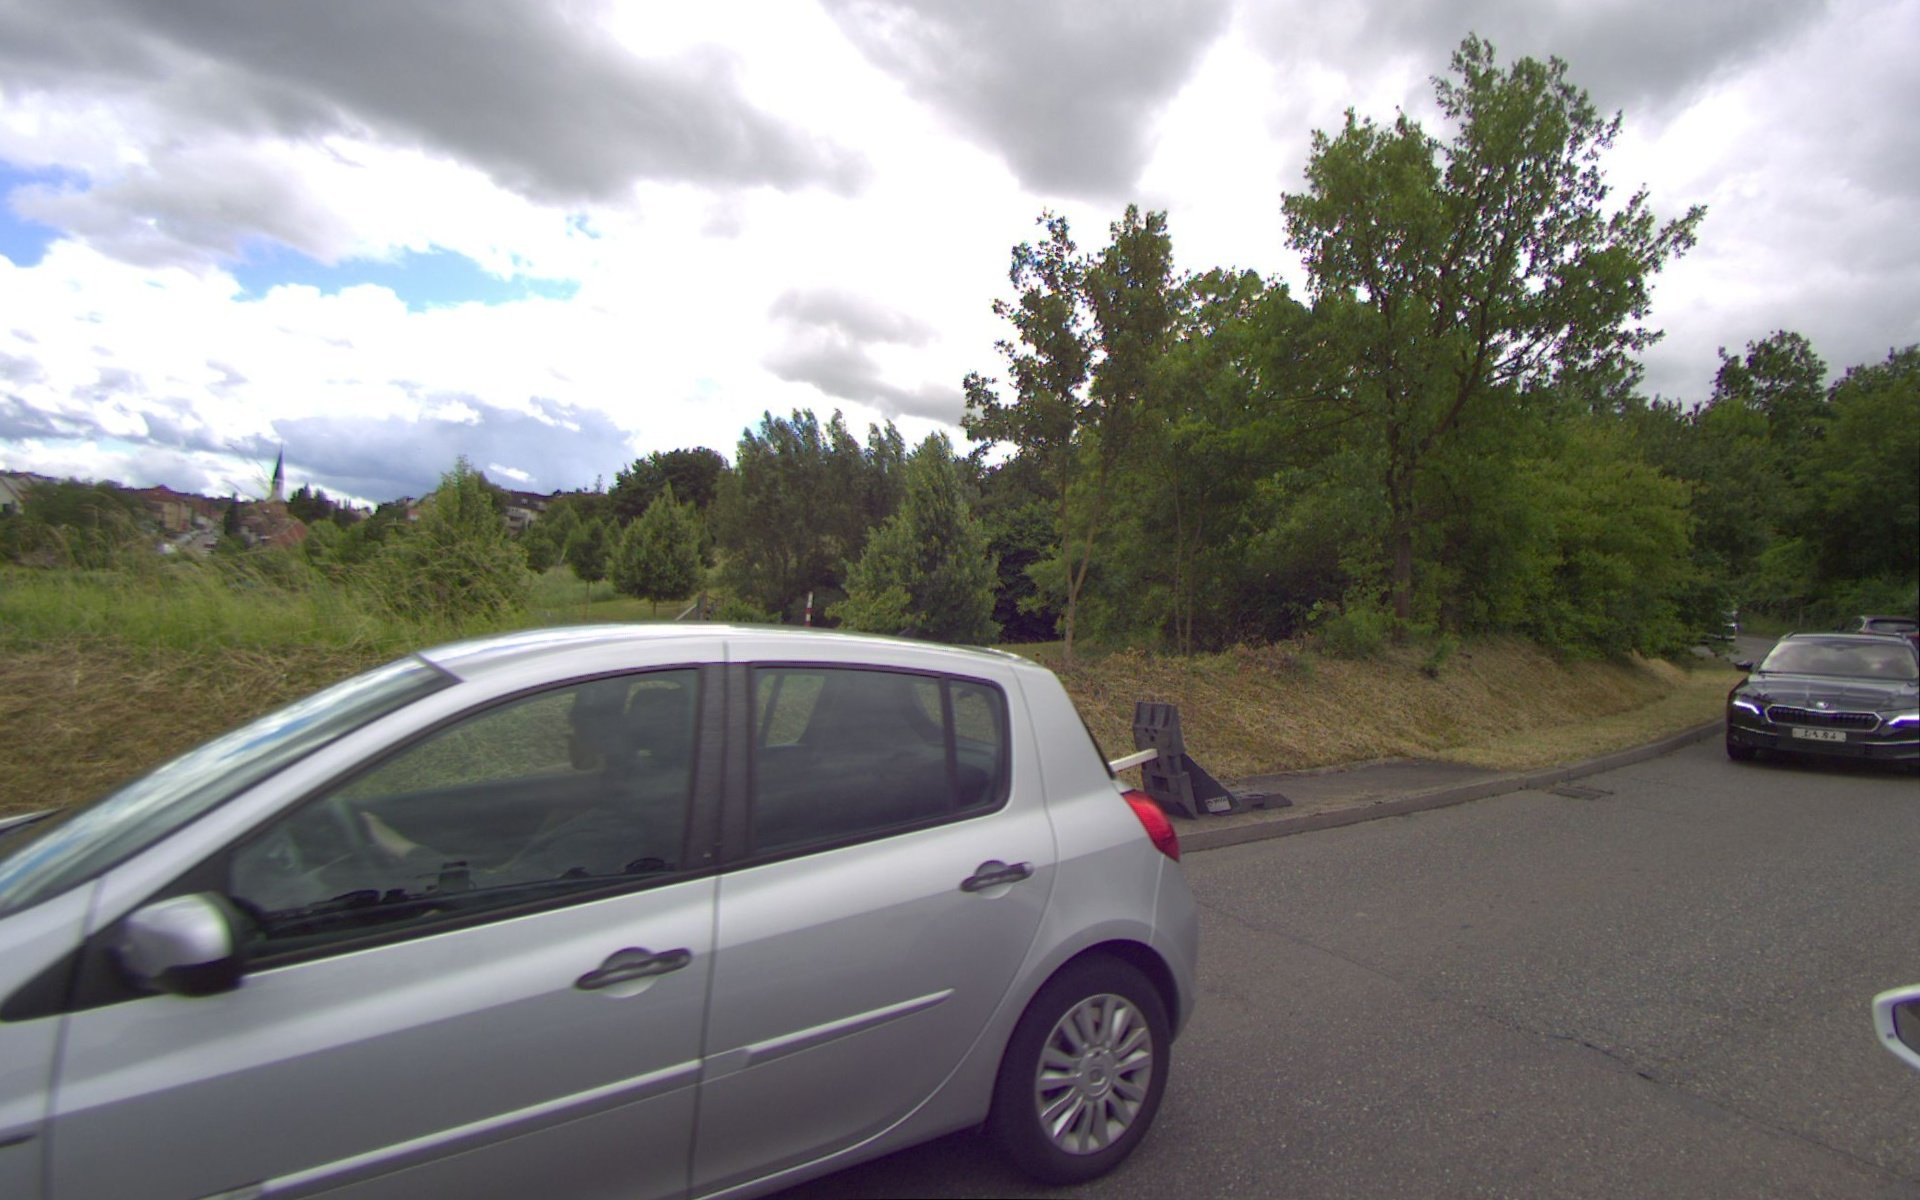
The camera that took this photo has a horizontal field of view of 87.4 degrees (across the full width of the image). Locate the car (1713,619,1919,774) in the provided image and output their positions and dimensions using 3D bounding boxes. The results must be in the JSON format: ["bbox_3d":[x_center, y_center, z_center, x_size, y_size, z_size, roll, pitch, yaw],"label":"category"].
[{"bbox_3d":[10.456,1.048,11.945,4.405,1.514,1.720,3,-3,-44],"label":"car"}]

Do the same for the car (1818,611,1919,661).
[{"bbox_3d":[29.666,1.179,32.721,1.812,1.503,3.994,-1,-2,29],"label":"car"}]

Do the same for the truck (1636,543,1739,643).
[{"bbox_3d":[31.383,-0.176,43.560,2.664,4.002,6.321,1,-1,28],"label":"truck"}]

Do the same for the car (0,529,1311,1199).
[{"bbox_3d":[-1.045,0.704,2.681,3.873,1.515,1.764,3,-2,-33],"label":"car"}]
